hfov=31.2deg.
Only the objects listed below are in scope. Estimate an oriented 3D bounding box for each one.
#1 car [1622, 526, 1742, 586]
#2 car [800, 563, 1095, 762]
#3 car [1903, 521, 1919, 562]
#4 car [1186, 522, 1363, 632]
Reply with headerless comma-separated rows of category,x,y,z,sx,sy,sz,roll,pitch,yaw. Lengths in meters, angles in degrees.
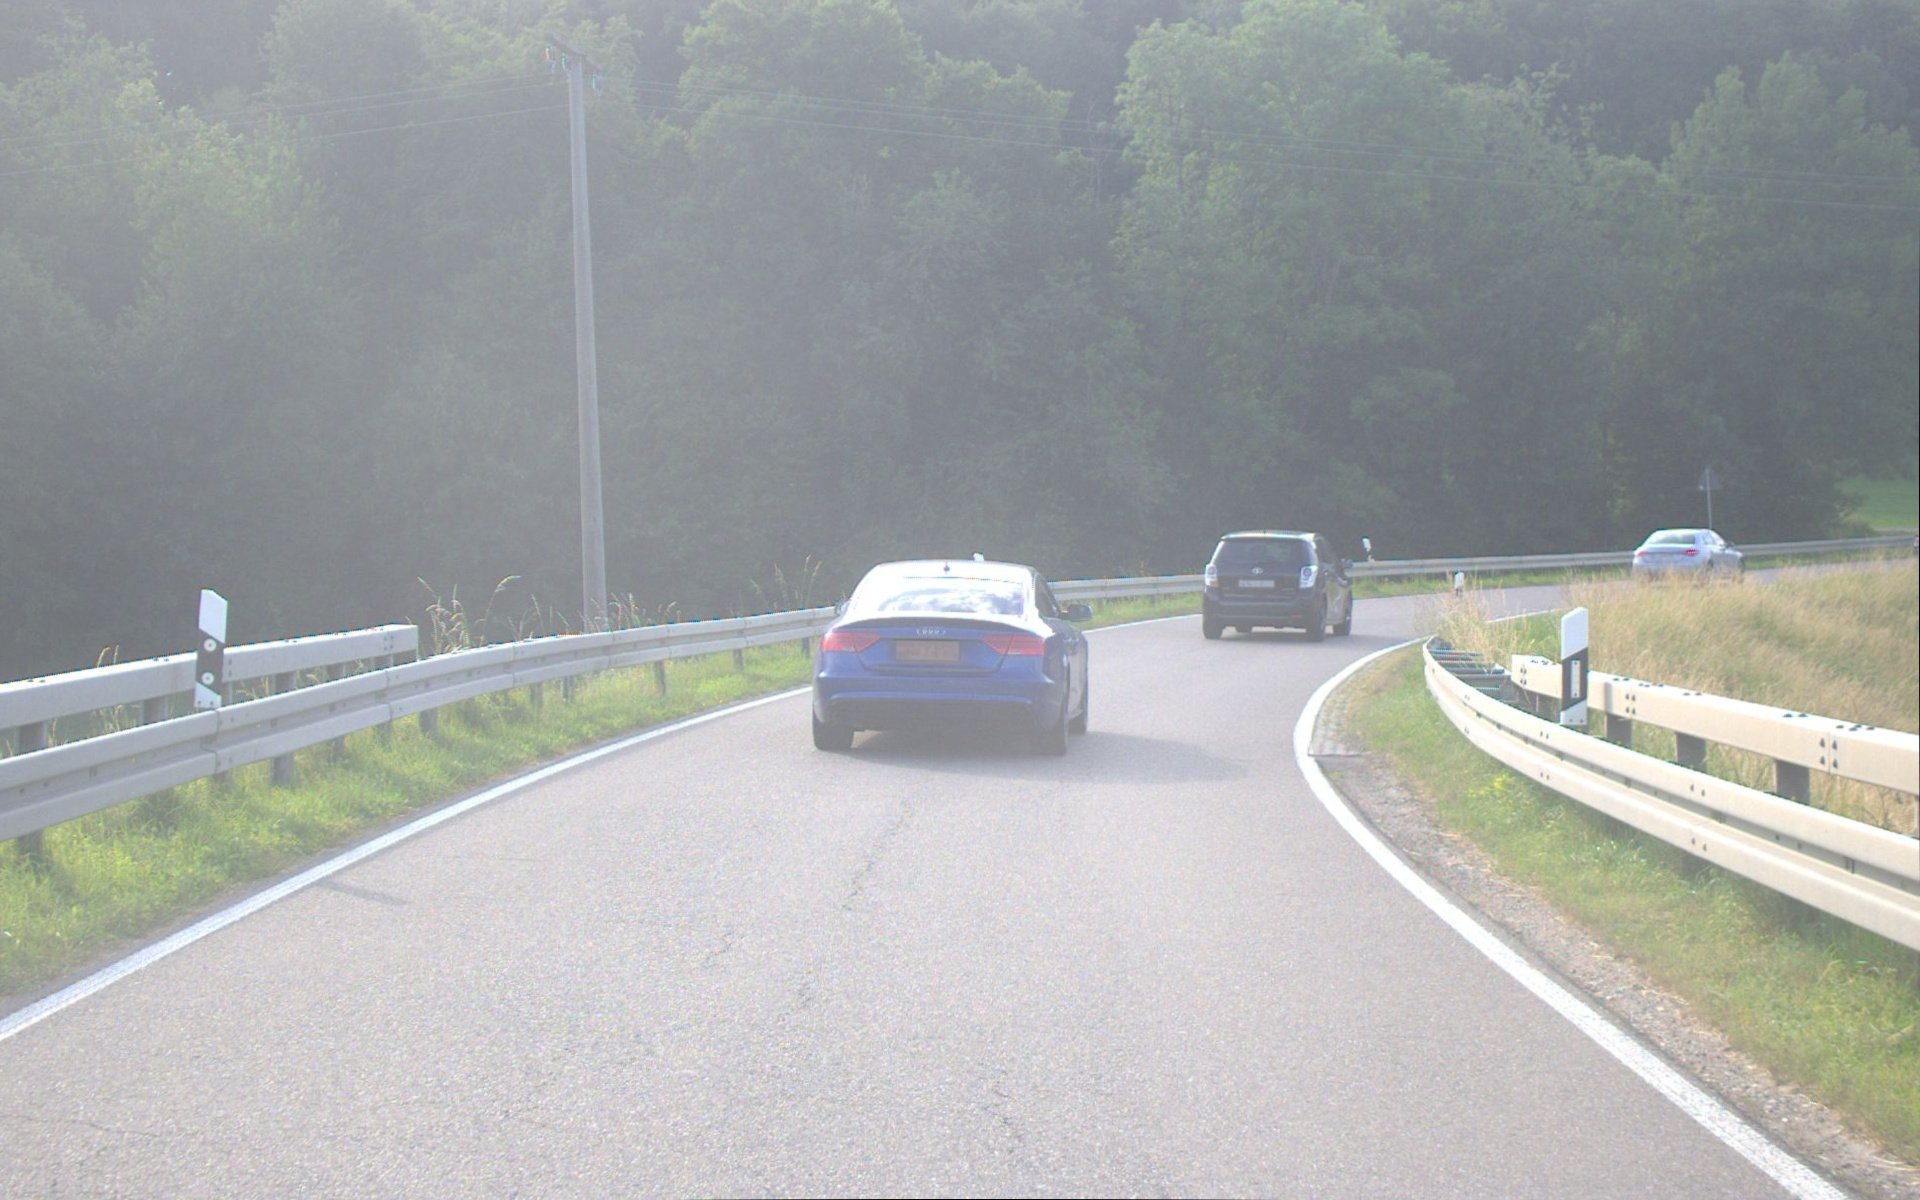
car,17.973,-1.102,85.468,1.685,1.371,3.993,-1,1,31
car,-0.006,0.404,25.802,1.819,1.334,4.349,0,1,5
car,29.997,-1.788,104.625,1.474,1.223,3.293,-1,0,34
car,4.775,-0.379,51.760,1.863,1.563,3.997,1,2,17
